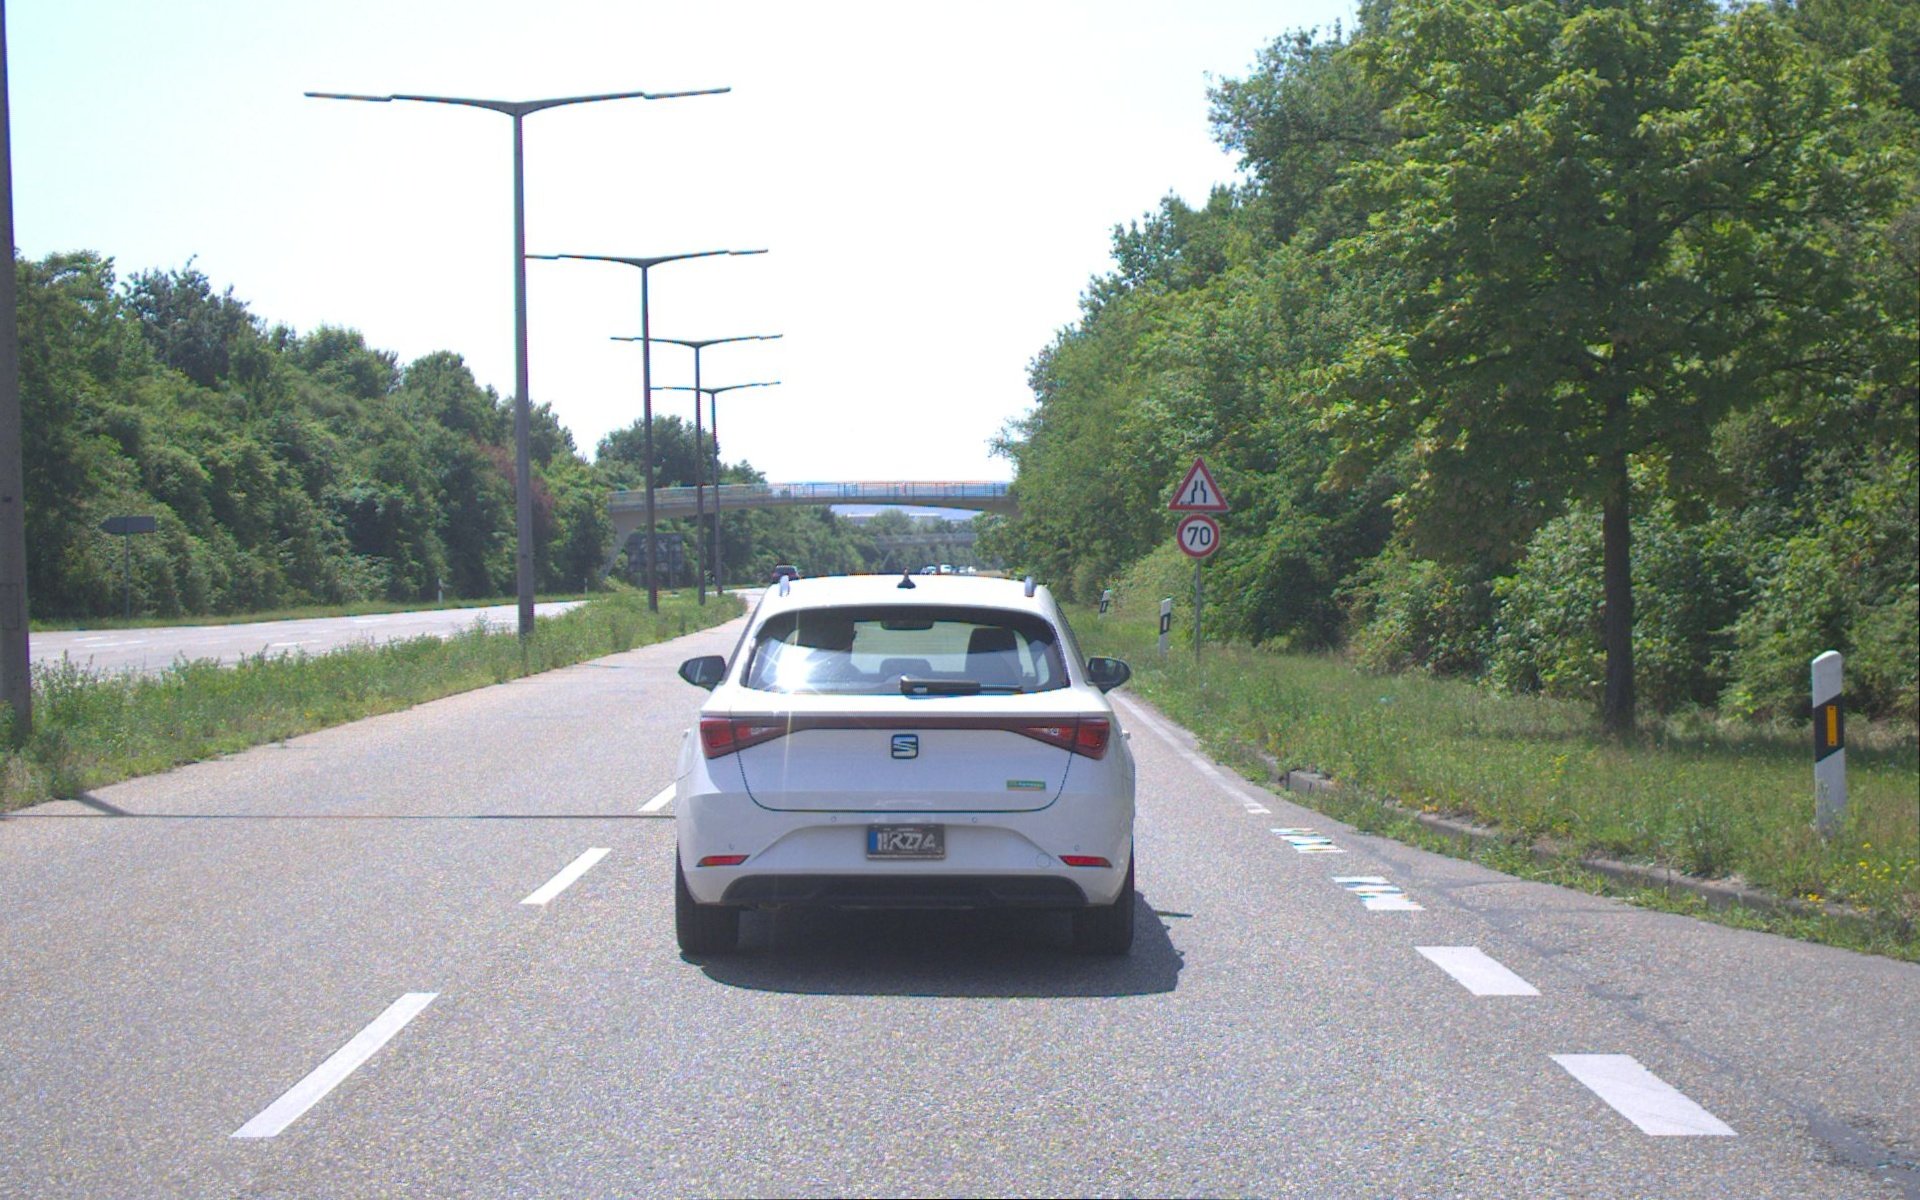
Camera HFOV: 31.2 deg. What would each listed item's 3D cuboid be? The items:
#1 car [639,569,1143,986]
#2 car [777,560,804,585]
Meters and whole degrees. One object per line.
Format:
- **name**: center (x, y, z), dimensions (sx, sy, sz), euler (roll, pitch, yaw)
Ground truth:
- **car**: center (-0.232, 0.617, 13.864), dimensions (1.734, 1.424, 3.694), euler (1, 0, 0)
- **car**: center (-11.828, -1.905, 239.503), dimensions (1.854, 1.703, 4.001), euler (1, 1, -3)
